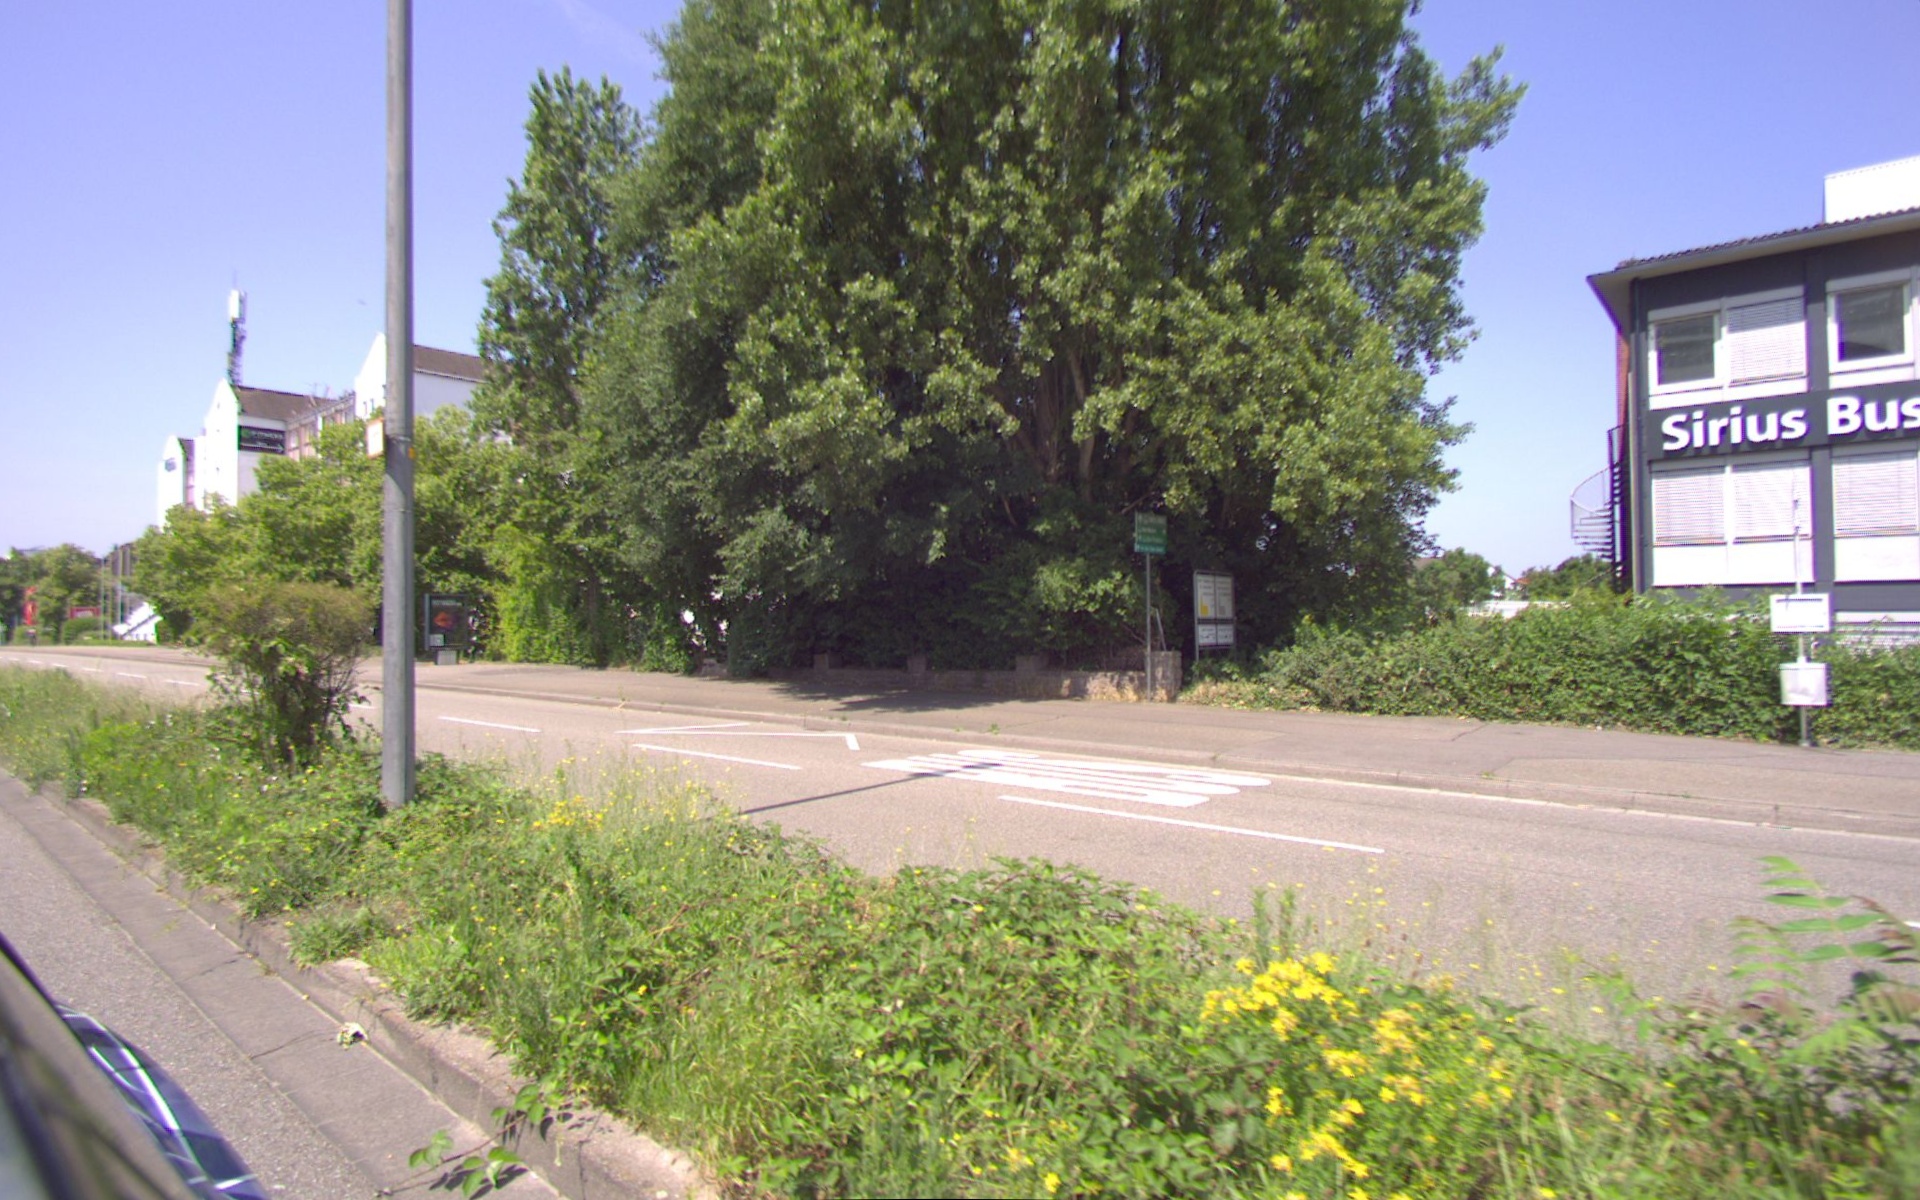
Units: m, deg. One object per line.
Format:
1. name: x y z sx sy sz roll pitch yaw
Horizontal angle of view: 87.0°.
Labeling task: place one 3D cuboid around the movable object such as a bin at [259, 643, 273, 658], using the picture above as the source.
1. movable object such as a bin: -32.312 2.341 47.115 0.423 0.711 0.653 2 -3 -41

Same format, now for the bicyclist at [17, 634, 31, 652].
1. bicyclist: -79.190 3.603 85.625 1.025 1.528 0.711 -2 -3 37

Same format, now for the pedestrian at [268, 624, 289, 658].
1. pedestrian: -31.801 1.918 47.207 0.726 1.556 0.626 -2 -3 39
